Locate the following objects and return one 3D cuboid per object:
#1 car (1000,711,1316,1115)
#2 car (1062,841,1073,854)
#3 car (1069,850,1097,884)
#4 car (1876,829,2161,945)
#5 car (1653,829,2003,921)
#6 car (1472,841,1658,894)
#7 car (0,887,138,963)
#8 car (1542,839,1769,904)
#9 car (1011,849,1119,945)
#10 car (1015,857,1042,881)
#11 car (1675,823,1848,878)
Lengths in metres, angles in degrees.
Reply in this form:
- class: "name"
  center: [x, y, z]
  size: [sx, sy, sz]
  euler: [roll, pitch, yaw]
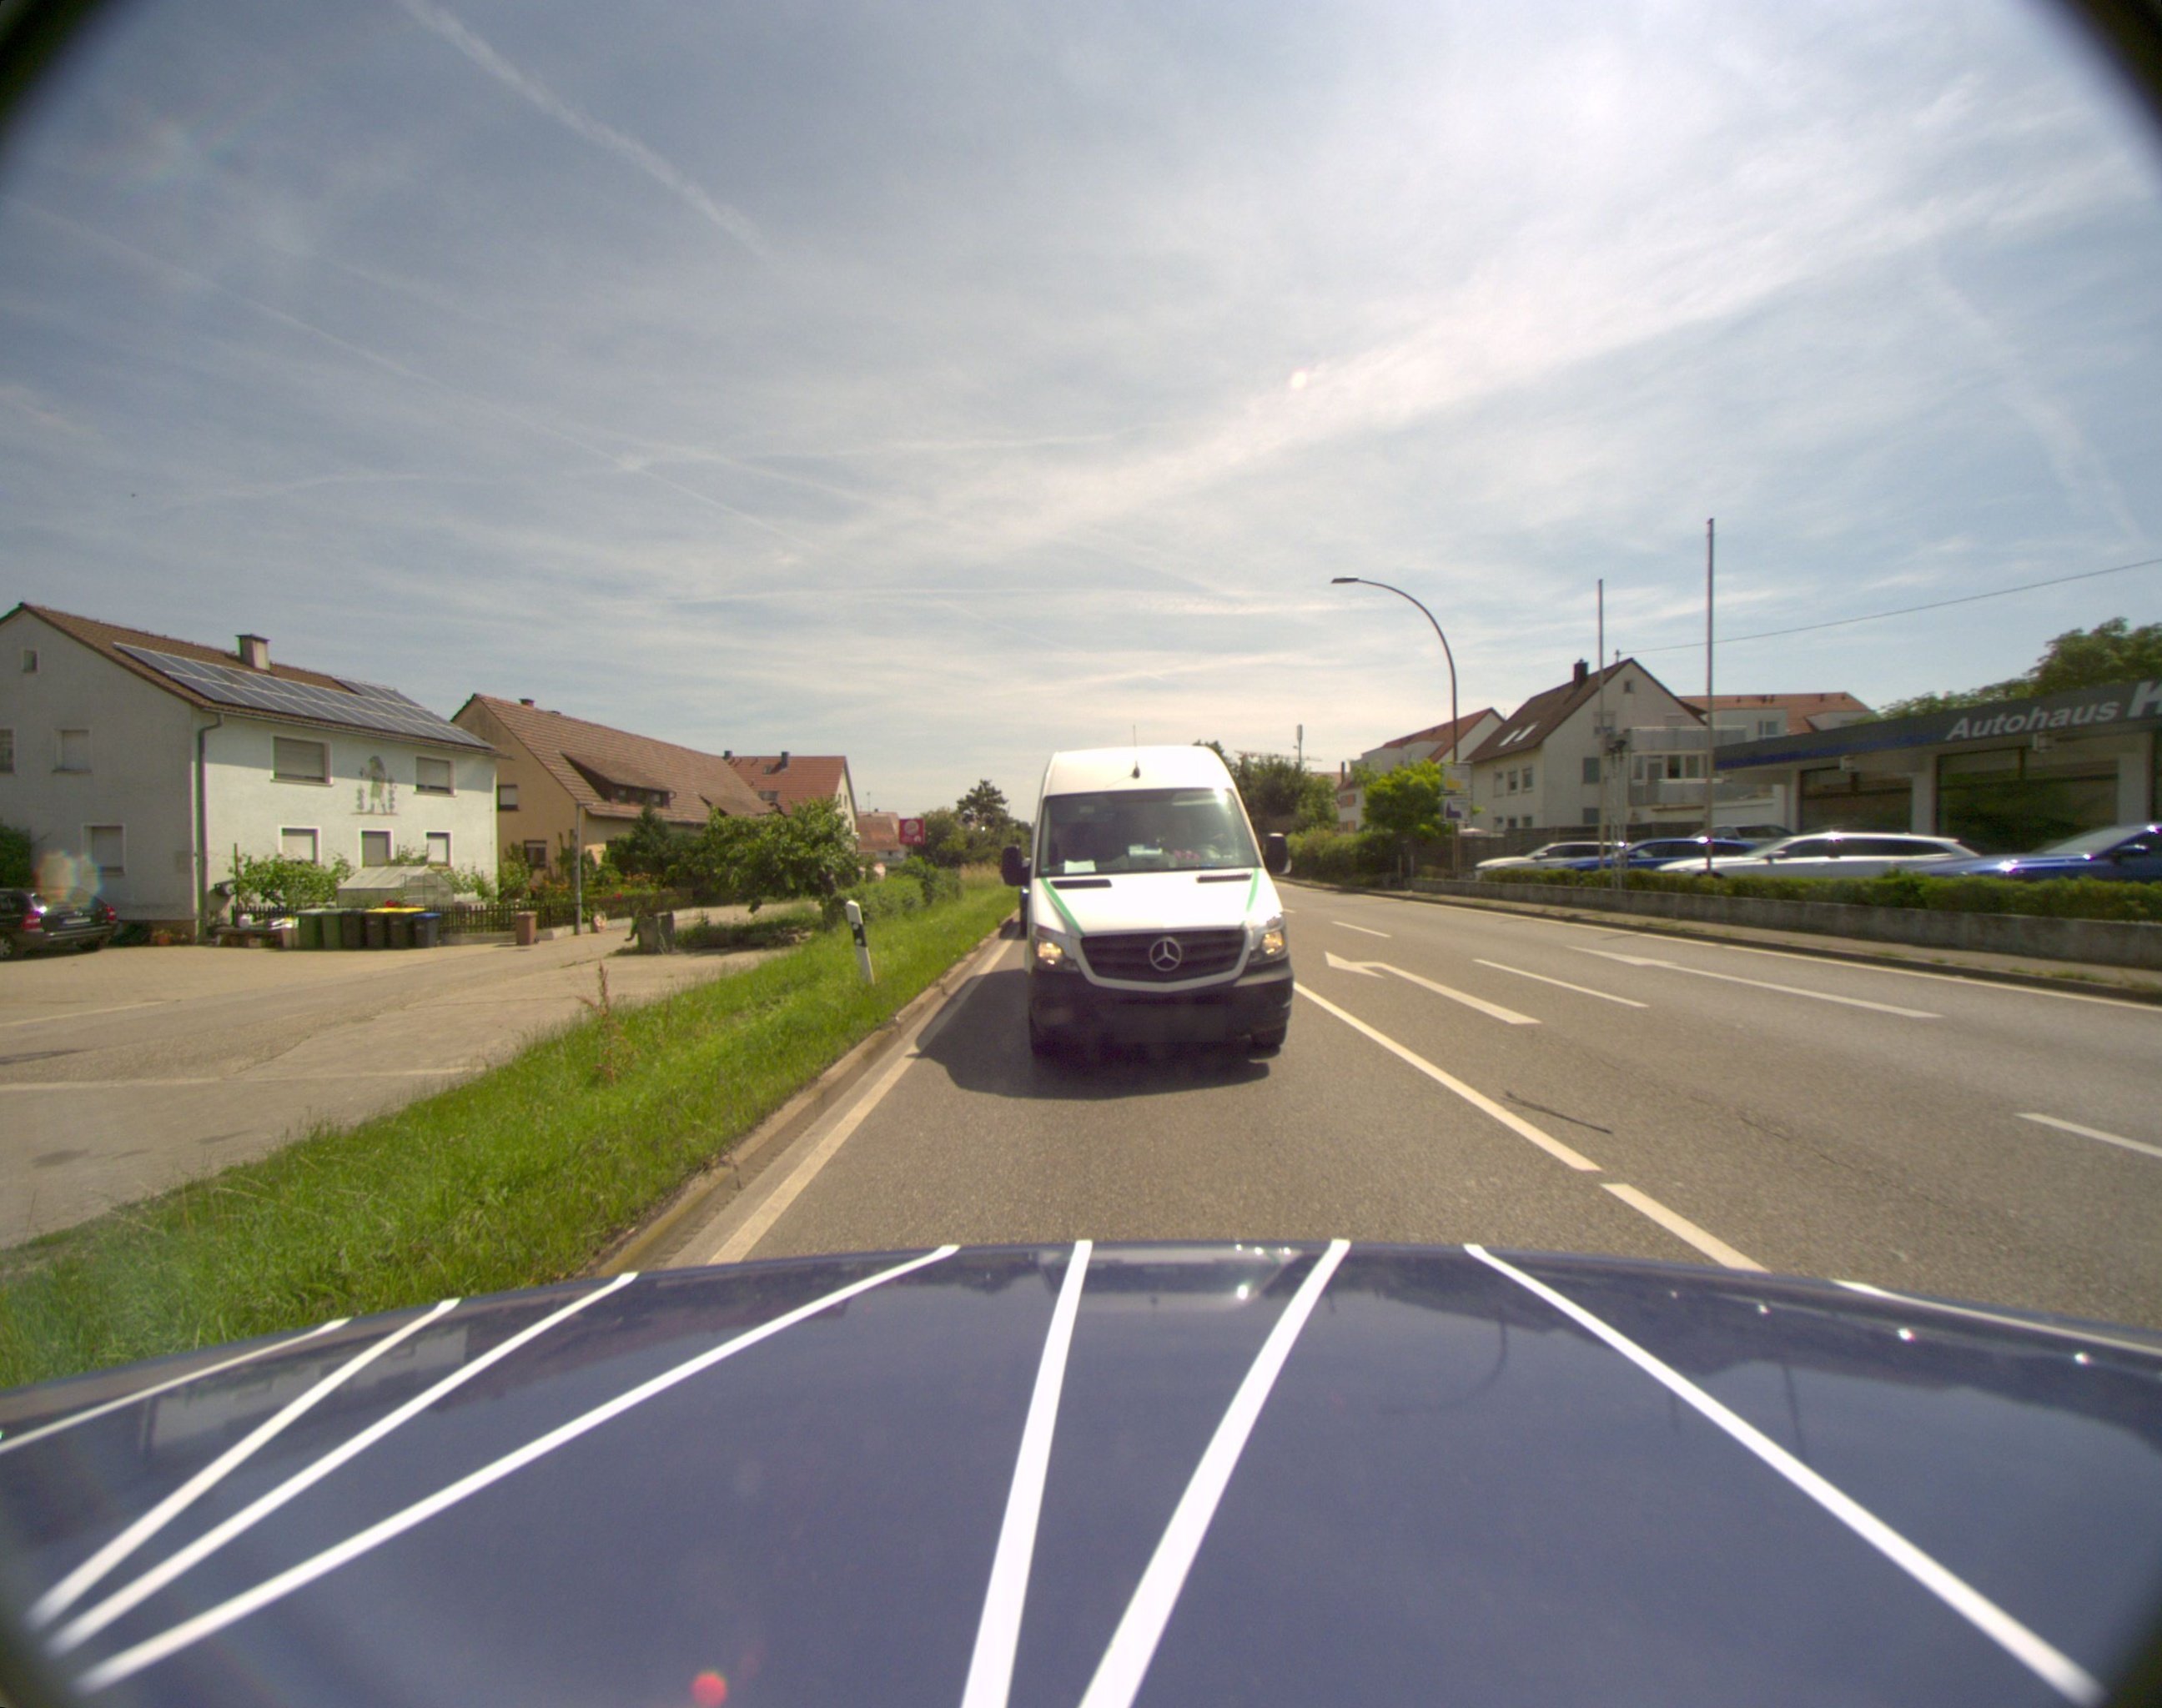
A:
- class: "car"
  center: [0.490, 0.370, 7.692]
  size: [1.939, 2.514, 5.748]
  euler: [-2, 0, 0]
- class: "car"
  center: [-2.665, -1.361, 154.776]
  size: [1.998, 2.573, 3.999]
  euler: [-2, 1, 0]
- class: "car"
  center: [0.146, 0.676, 41.518]
  size: [1.422, 1.650, 3.088]
  euler: [-2, 1, 1]
- class: "car"
  center: [14.422, 0.419, 10.526]
  size: [4.331, 1.439, 1.860]
  euler: [-2, 1, 26]
- class: "car"
  center: [14.168, 0.430, 14.859]
  size: [4.505, 1.439, 1.860]
  euler: [-4, 0, 30]
- class: "car"
  center: [14.514, 0.416, 23.093]
  size: [4.568, 1.439, 1.860]
  euler: [-2, 1, 29]
- class: "car"
  center: [-26.810, 1.747, 19.103]
  size: [3.957, 1.683, 1.844]
  euler: [0, 1, 3]
- class: "car"
  center: [14.275, 0.443, 19.239]
  size: [4.331, 1.439, 1.860]
  euler: [-2, 1, 29]
- class: "car"
  center: [-0.312, 0.790, 16.360]
  size: [1.884, 1.652, 4.625]
  euler: [-4, 0, -1]
- class: "car"
  center: [-3.560, 1.007, 52.040]
  size: [1.636, 1.476, 3.551]
  euler: [-5, 1, -2]
- class: "car"
  center: [20.799, -0.110, 23.529]
  size: [1.807, 1.456, 4.585]
  euler: [-2, 0, 10]
